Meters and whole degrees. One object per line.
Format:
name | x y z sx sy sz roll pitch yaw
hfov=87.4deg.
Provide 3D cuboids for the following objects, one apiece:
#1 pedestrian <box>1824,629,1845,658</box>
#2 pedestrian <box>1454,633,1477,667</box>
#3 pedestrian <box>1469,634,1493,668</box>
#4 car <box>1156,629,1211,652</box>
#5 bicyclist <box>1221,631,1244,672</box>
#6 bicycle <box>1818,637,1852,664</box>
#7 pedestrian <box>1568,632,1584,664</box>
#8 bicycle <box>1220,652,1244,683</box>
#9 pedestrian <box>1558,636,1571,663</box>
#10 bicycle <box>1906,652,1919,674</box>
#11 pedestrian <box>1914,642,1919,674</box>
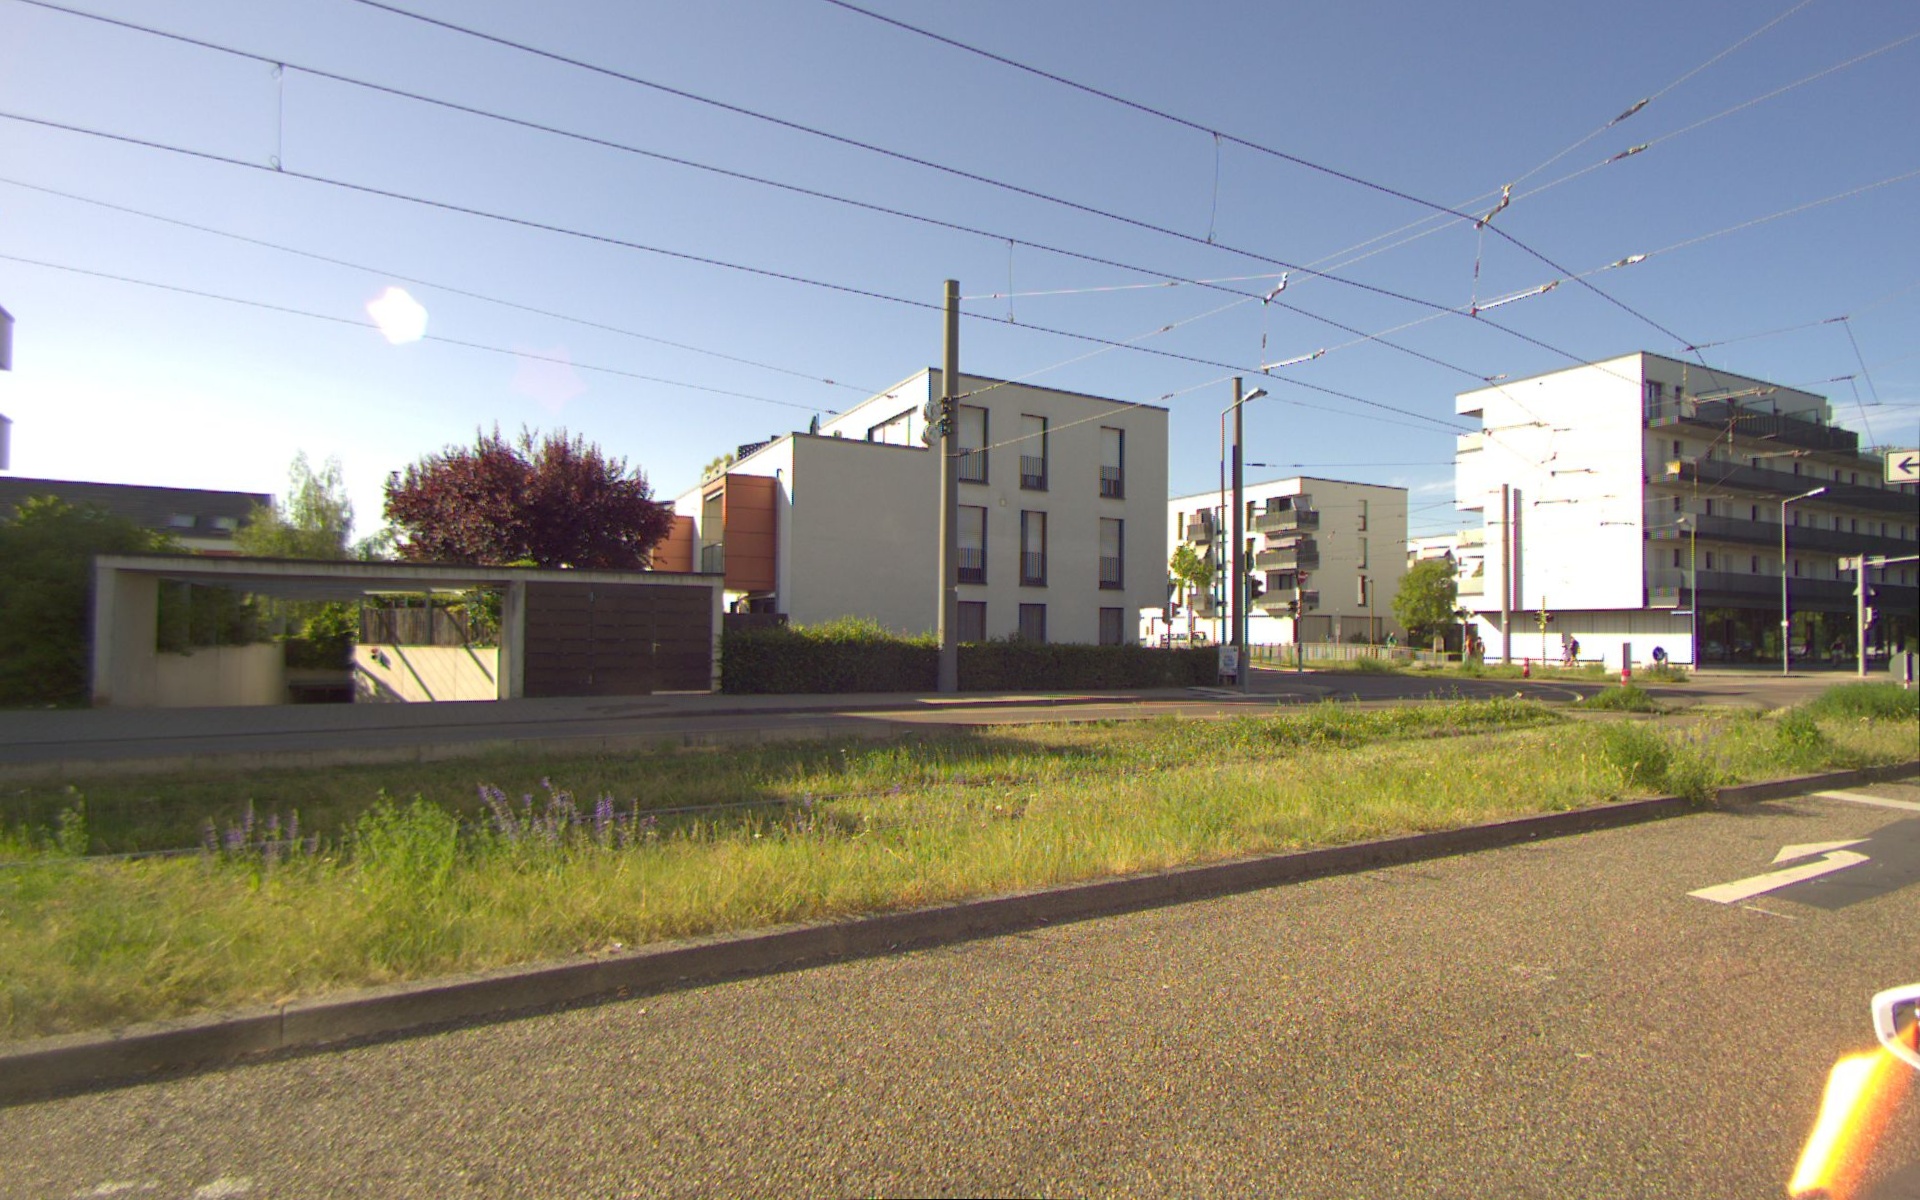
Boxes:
pedestrian | 45.954 2.282 52.791 0.588 1.529 0.641 2 0 -25
pedestrian | 25.450 2.507 50.583 0.736 1.626 0.765 2 0 -37
pedestrian | 25.871 2.516 49.878 0.736 1.626 0.765 2 0 -37
car | 17.828 3.199 80.237 1.974 1.595 4.309 2 0 -27
bicyclist | 11.162 2.096 41.155 0.770 1.635 0.640 2 0 25
bicycle | 46.031 2.646 52.831 1.887 1.350 0.628 2 0 -25
pedestrian | 34.557 2.678 56.355 0.513 1.767 0.539 2 0 -35
bicycle | 11.159 2.761 41.159 0.806 1.139 1.861 2 0 19
pedestrian | 33.929 2.782 56.359 0.513 1.523 0.438 2 0 -35
bicycle | 46.217 3.000 47.866 2.397 1.002 0.769 2 0 -23
pedestrian | 46.158 2.767 47.858 0.940 1.493 0.710 2 0 -23
